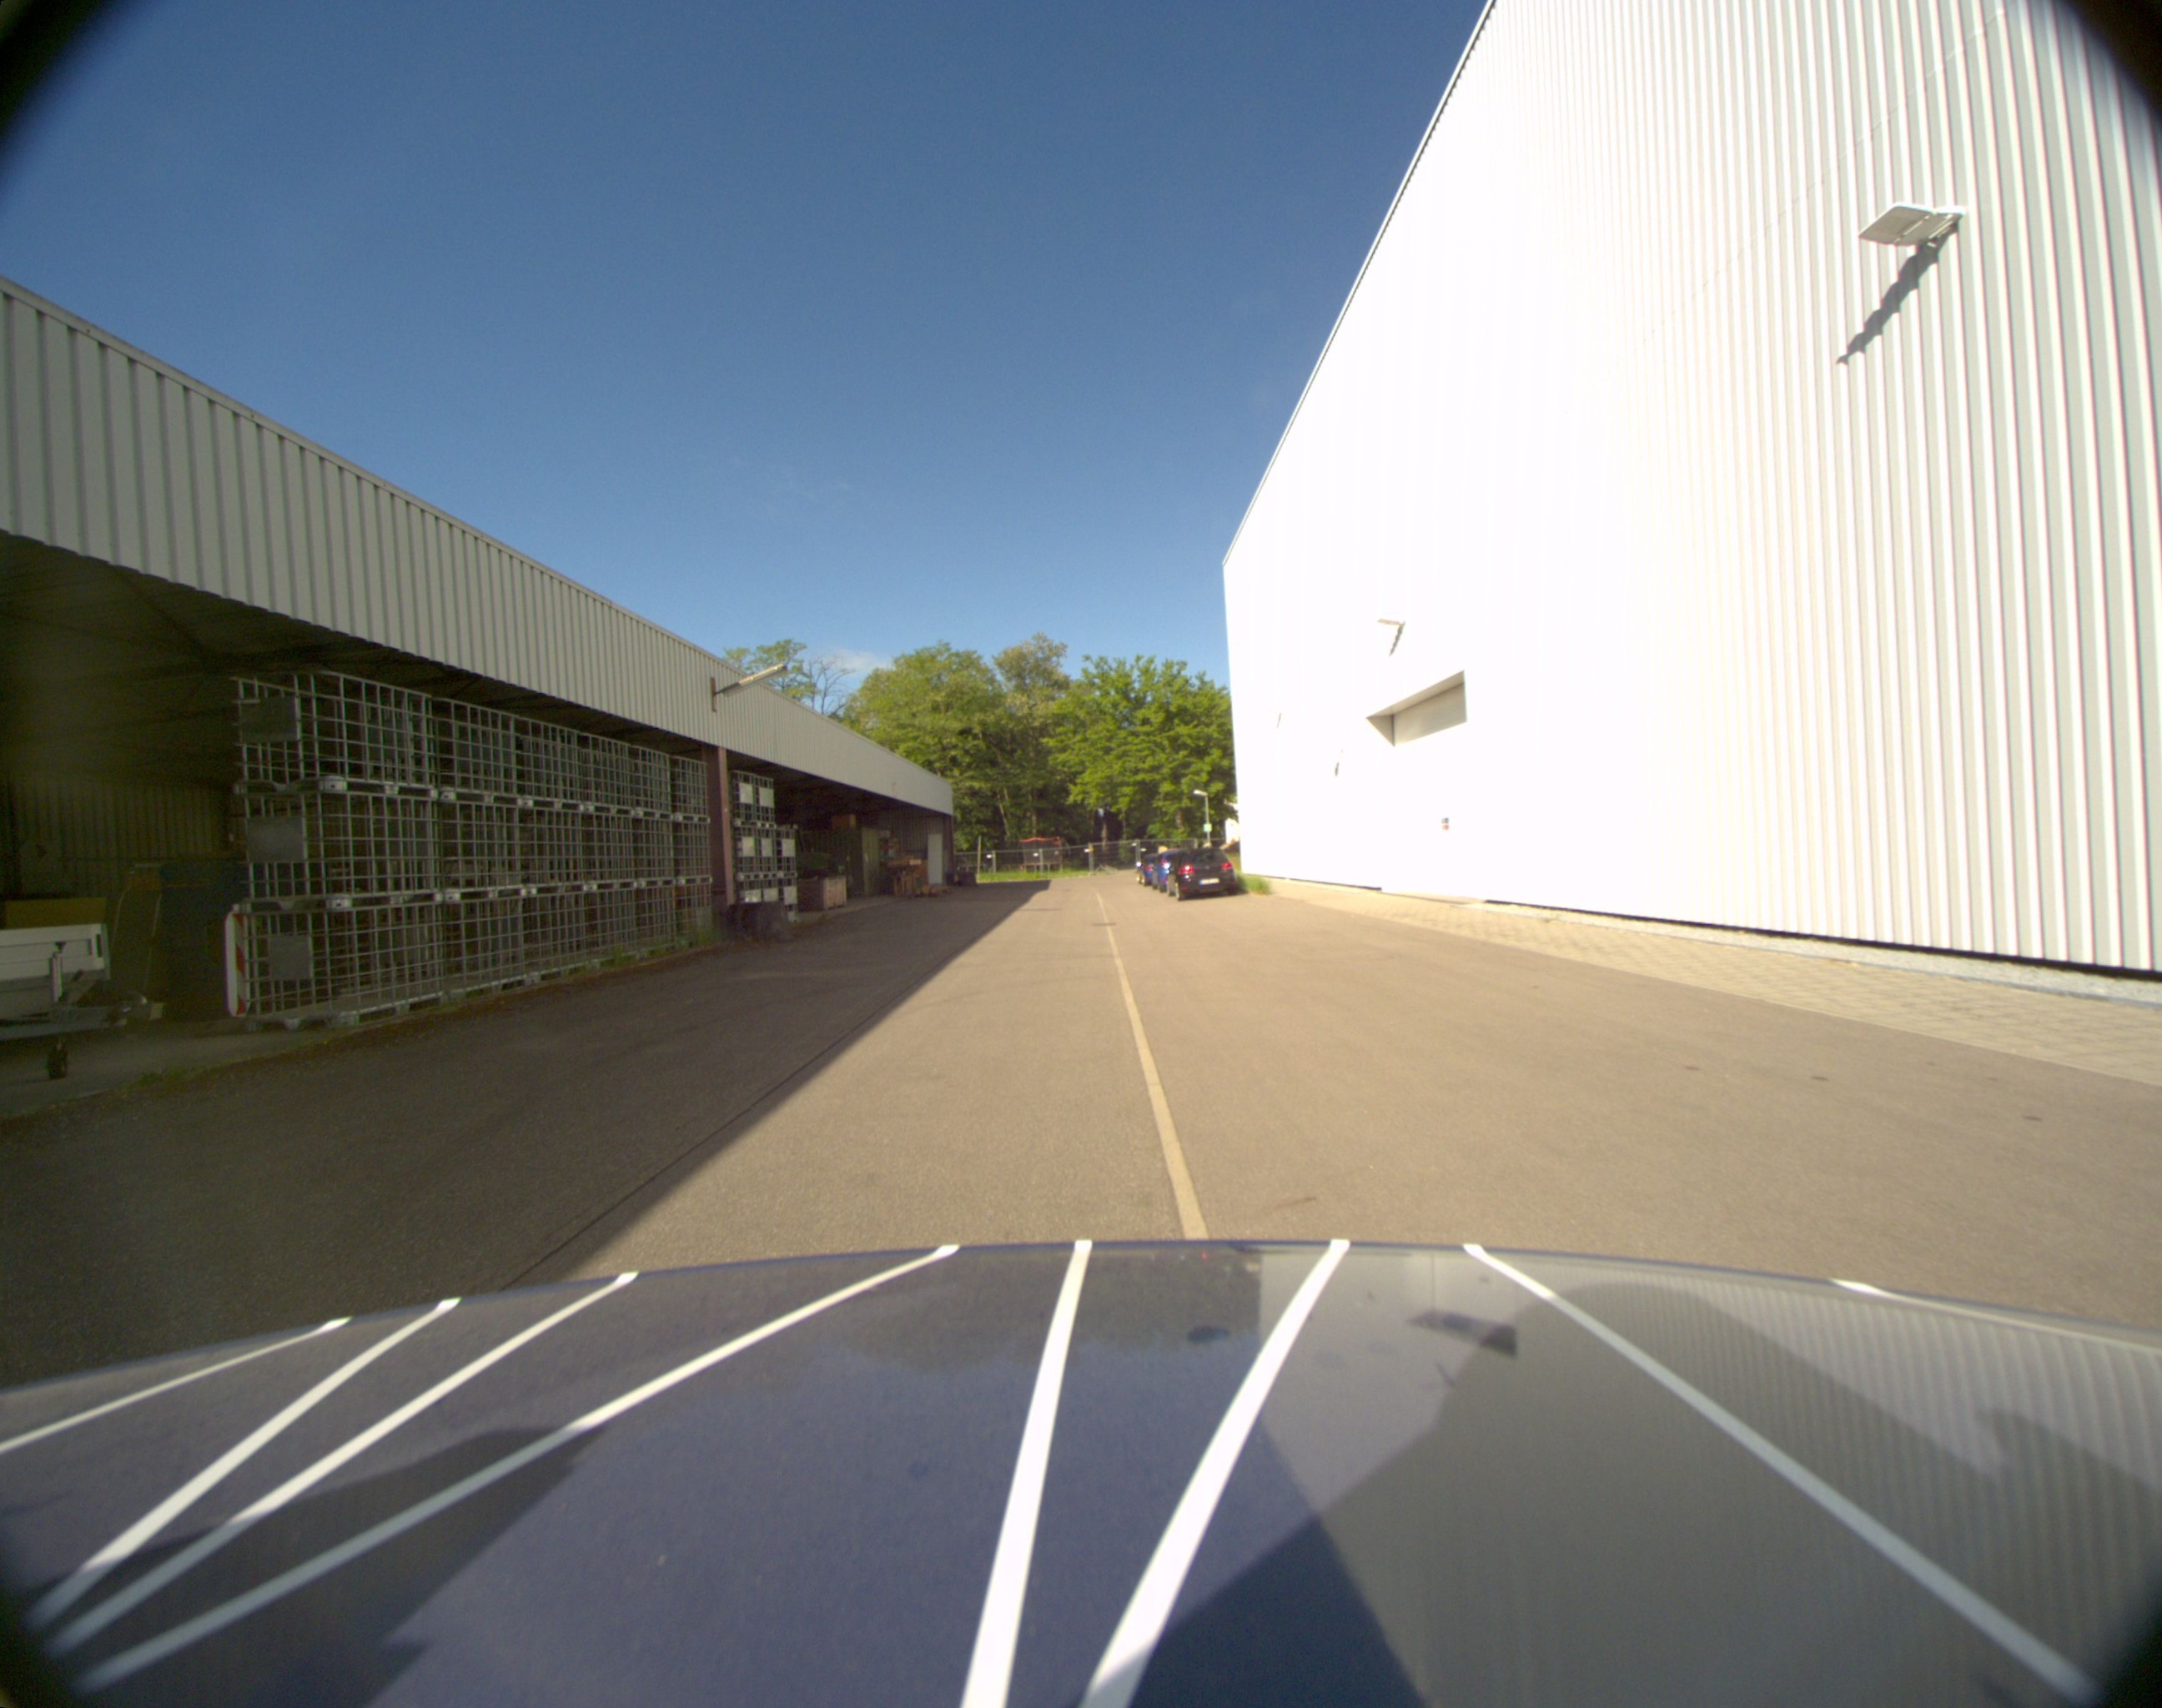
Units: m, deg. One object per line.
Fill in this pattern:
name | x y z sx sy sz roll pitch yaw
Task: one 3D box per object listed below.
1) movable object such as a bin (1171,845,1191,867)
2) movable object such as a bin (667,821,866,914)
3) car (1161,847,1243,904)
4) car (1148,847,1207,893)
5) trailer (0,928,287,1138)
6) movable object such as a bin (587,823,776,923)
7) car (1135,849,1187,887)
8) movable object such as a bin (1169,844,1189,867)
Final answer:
movable object such as a bin | 6.487 0.130 49.227 1.141 1.426 1.289 -2 0 1
movable object such as a bin | -11.135 0.451 27.367 5.848 2.908 2.820 -3 1 1
car | 3.576 0.603 23.249 1.760 1.437 4.315 -6 0 1
car | 3.476 0.557 27.993 1.552 1.480 3.522 -5 0 -1
trailer | -9.969 1.349 5.745 5.743 1.178 1.974 -2 1 -1
movable object such as a bin | -12.510 0.571 24.106 4.537 2.814 2.497 -3 0 1
car | 3.471 0.578 33.505 1.716 1.440 3.798 -5 0 -1
movable object such as a bin | 6.516 0.126 50.591 1.141 1.469 1.280 -2 0 1
